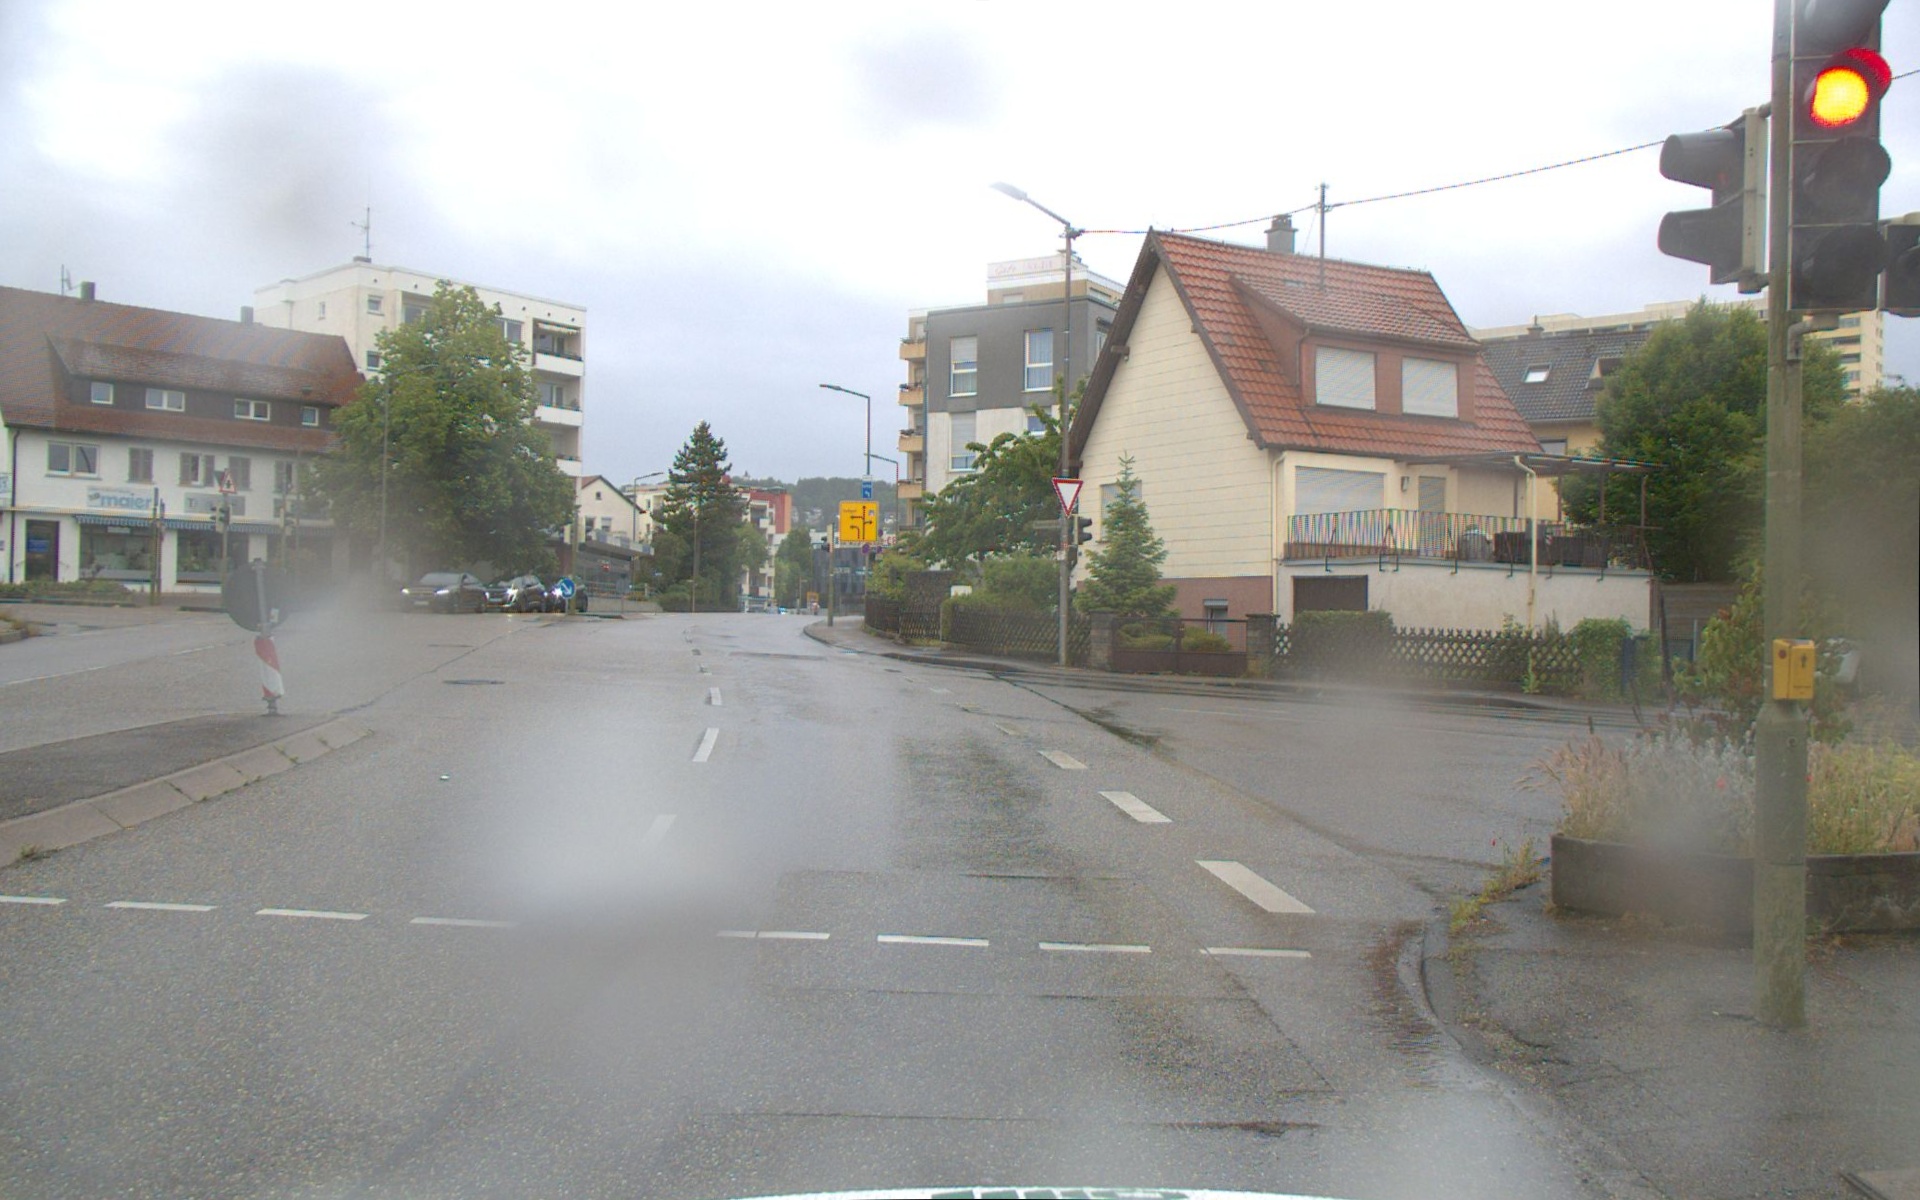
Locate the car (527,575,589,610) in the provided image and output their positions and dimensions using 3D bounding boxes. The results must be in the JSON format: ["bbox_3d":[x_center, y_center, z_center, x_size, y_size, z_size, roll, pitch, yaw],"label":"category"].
[{"bbox_3d":[-17.263,-0.344,71.155,1.742,1.445,3.830,1,1,-1],"label":"car"}]

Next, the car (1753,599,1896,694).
[{"bbox_3d":[15.617,0.787,29.800,1.710,1.541,3.985,1,1,36],"label":"car"}]

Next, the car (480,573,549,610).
[{"bbox_3d":[-17.570,-0.344,65.372,1.680,1.411,4.020,1,1,-1],"label":"car"}]

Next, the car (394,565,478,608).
[{"bbox_3d":[-18.252,-0.479,57.801,1.742,1.445,3.830,1,1,-1],"label":"car"}]
